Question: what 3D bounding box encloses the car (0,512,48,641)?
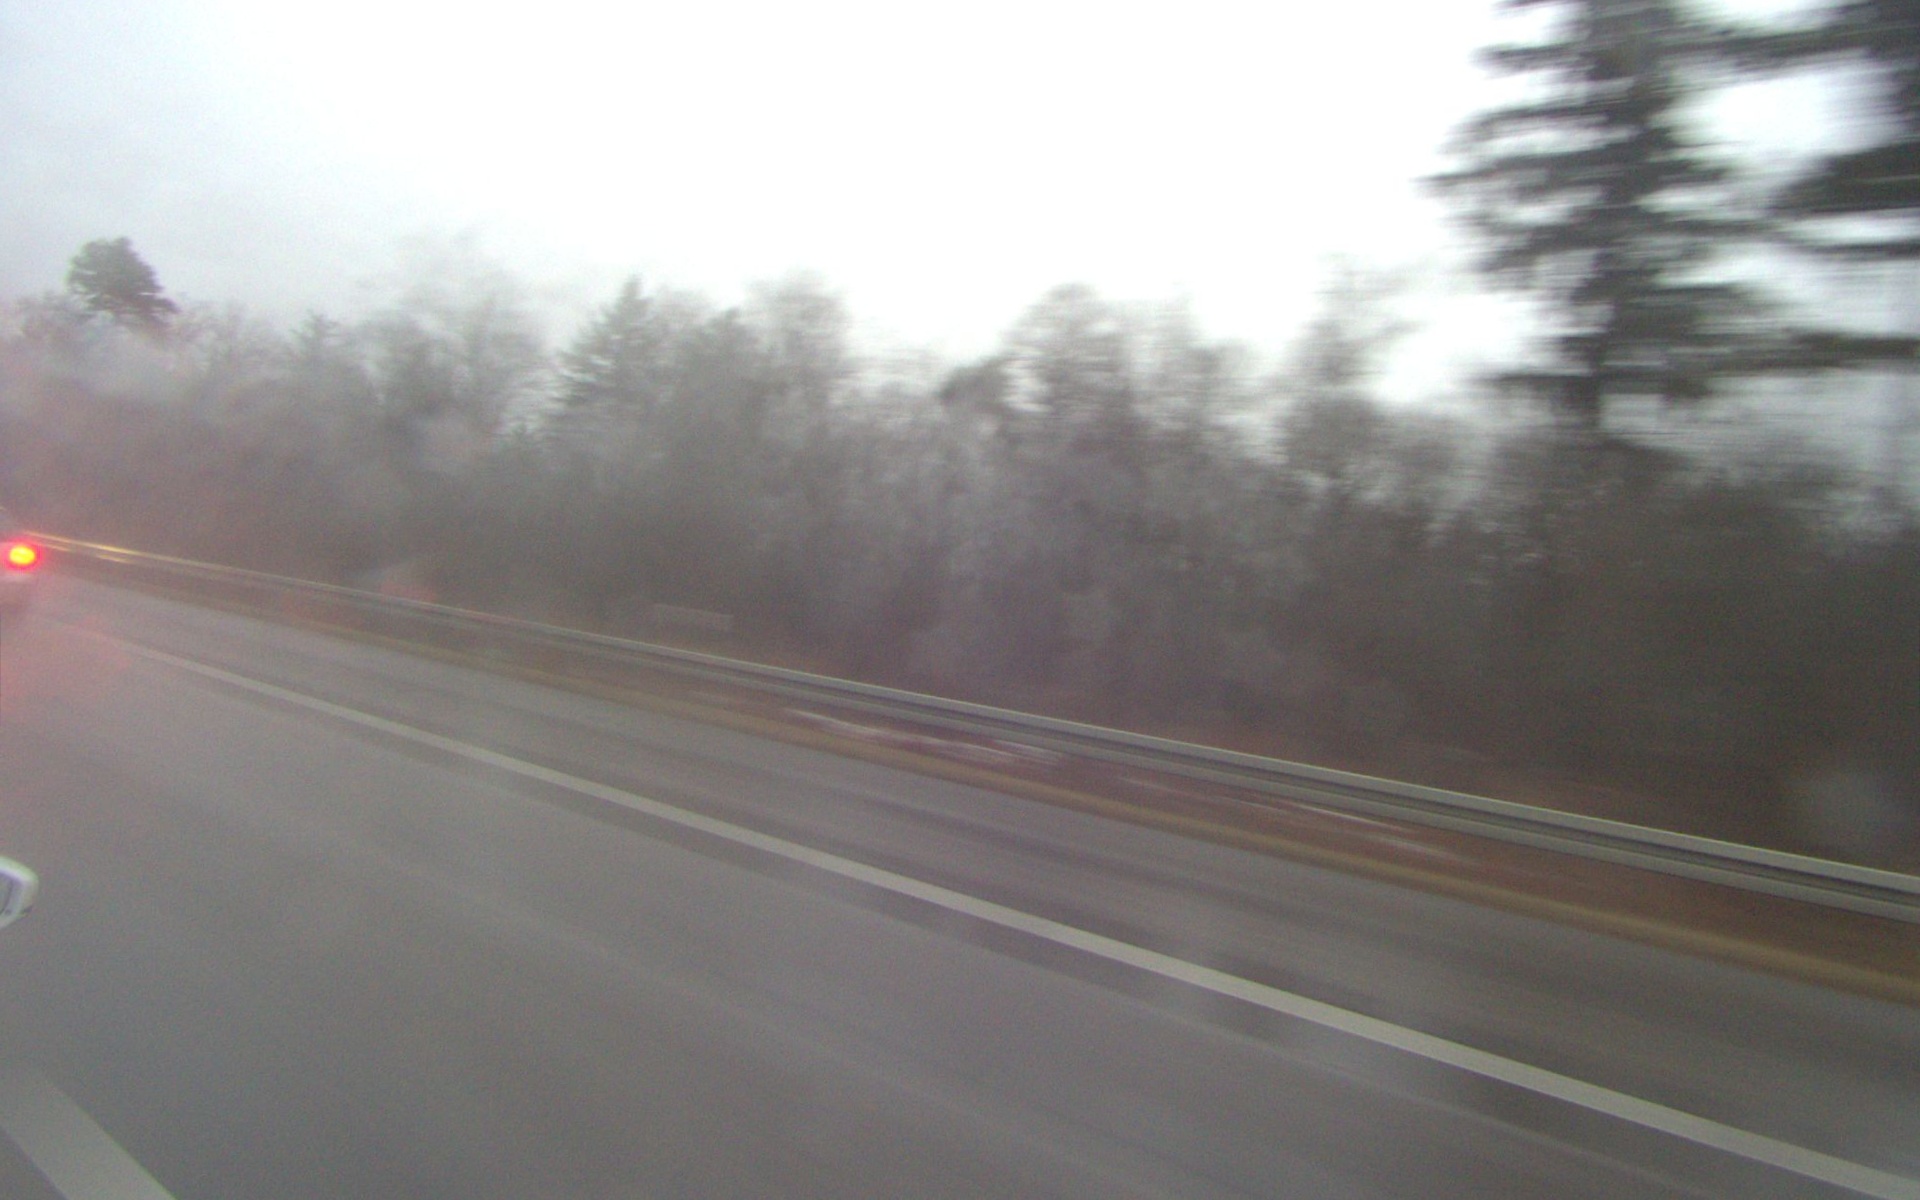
[{"bbox_3d":[-12.823,-0.496,12.075,3.478,1.454,1.783,7,-2,32],"label":"car"}]
